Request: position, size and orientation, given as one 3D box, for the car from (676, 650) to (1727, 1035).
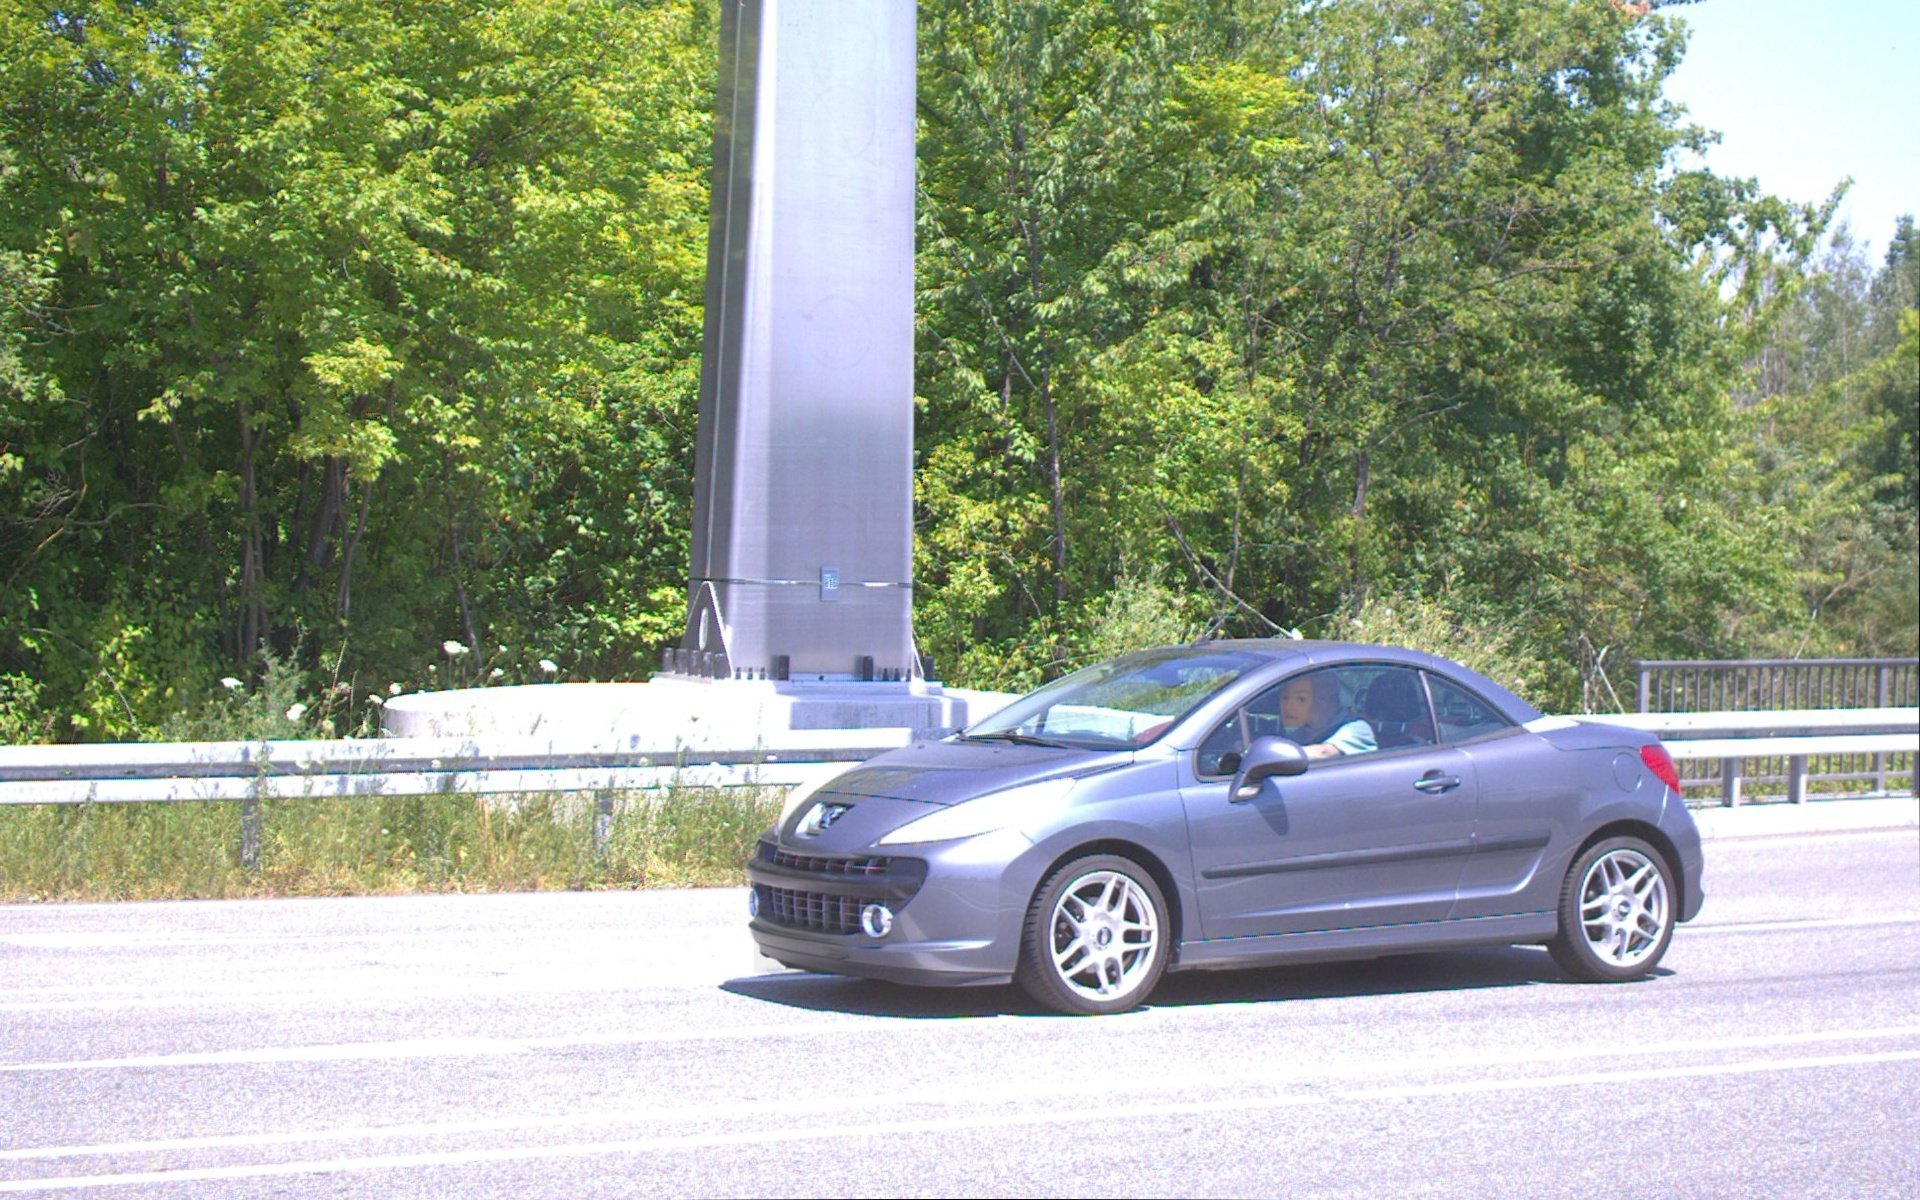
[{"bbox_3d":[1.008,0.884,13.761,3.955,1.347,1.651,1,-2,-31],"label":"car"}]
